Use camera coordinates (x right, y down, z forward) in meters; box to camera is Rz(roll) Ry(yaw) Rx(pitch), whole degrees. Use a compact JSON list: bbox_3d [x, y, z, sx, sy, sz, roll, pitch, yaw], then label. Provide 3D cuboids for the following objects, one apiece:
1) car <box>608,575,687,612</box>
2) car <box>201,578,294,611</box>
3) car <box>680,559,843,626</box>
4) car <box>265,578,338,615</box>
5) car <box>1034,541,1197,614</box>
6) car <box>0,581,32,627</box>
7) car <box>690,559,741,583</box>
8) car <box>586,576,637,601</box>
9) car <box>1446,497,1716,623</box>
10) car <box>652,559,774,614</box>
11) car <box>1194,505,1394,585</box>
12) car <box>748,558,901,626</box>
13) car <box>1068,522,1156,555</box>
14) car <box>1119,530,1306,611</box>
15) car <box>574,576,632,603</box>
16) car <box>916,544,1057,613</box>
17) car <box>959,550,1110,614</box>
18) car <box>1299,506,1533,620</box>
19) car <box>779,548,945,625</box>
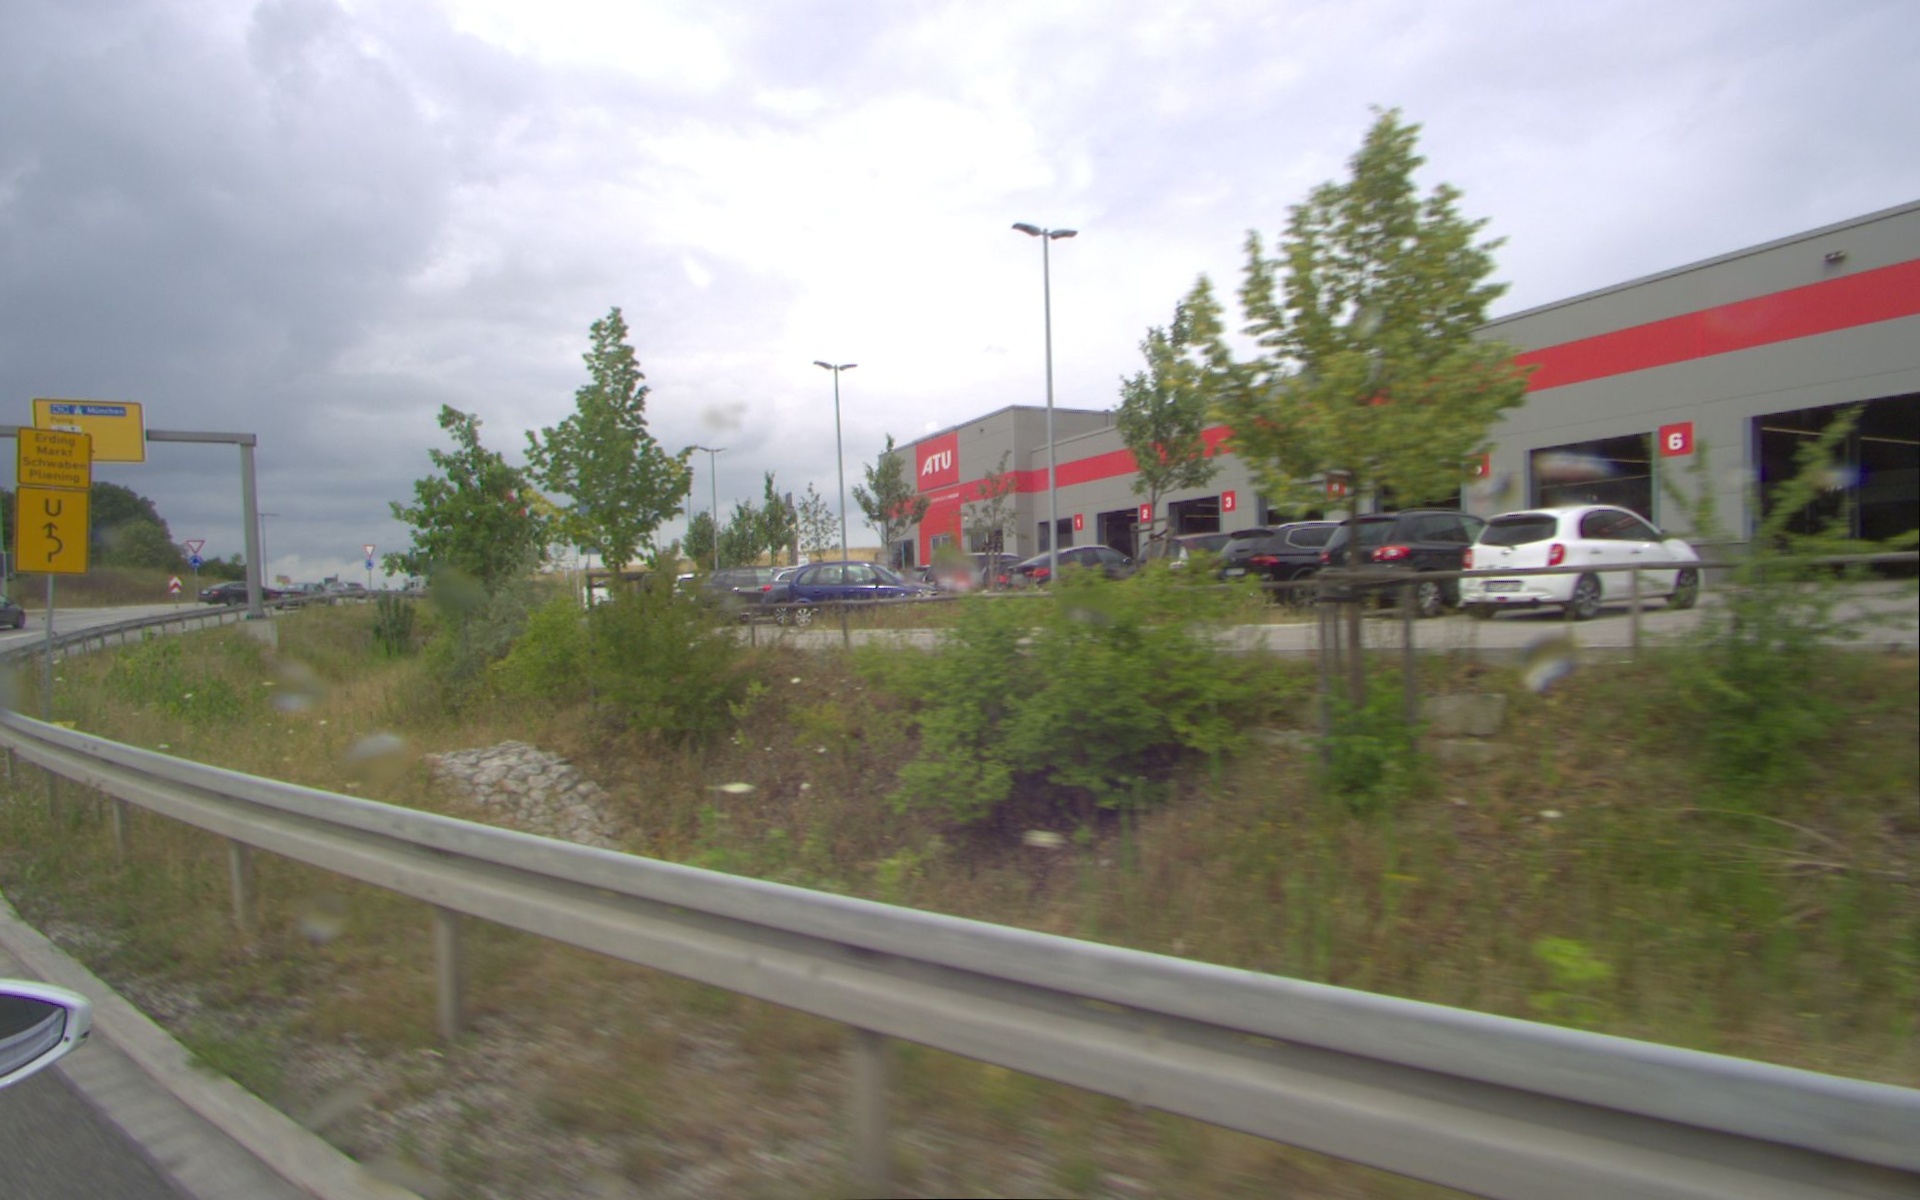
[{"bbox_3d":[-15.685,-0.323,50.331,3.398,1.646,1.548,-3,2,13],"label":"car"},{"bbox_3d":[-41.992,-0.341,59.167,1.868,1.807,4.148,-1,2,17],"label":"car"},{"bbox_3d":[-6.041,-0.249,30.748,4.465,1.758,1.830,-3,2,11],"label":"car"},{"bbox_3d":[-34.485,-0.229,52.557,1.627,1.863,3.952,-2,2,-9],"label":"car"},{"bbox_3d":[3.995,-0.577,25.678,3.837,1.651,1.713,-3,1,-29],"label":"car"},{"bbox_3d":[-34.677,0.106,35.242,1.846,1.626,3.720,2,-1,-25],"label":"car"},{"bbox_3d":[-17.233,-2.020,70.503,3.617,1.568,1.682,-1,1,42],"label":"car"},{"bbox_3d":[-29.899,-1.017,86.018,3.981,2.041,1.790,-2,2,-19],"label":"car"},{"bbox_3d":[8.863,-0.591,14.265,3.571,1.559,1.637,-4,2,-26],"label":"car"},{"bbox_3d":[-9.579,-0.543,39.013,4.114,1.867,1.830,-3,2,10],"label":"car"},{"bbox_3d":[6.265,-0.992,18.767,3.391,1.352,1.637,-1,1,-26],"label":"car"},{"bbox_3d":[-3.697,-0.244,27.601,3.738,1.629,1.756,-3,2,14],"label":"car"},{"bbox_3d":[7.302,-2.925,48.142,3.851,1.537,1.788,-1,4,-25],"label":"car"},{"bbox_3d":[5.352,-0.611,21.097,3.832,1.558,1.666,-2,1,-33],"label":"car"},{"bbox_3d":[-23.143,-0.658,64.842,3.529,1.648,1.637,0,2,31],"label":"car"},{"bbox_3d":[0.806,-0.642,29.875,3.803,1.844,1.713,-3,1,-29],"label":"car"},{"bbox_3d":[2.088,-0.509,27.877,3.837,1.555,1.713,-3,1,-29],"label":"car"},{"bbox_3d":[7.417,-0.619,16.268,3.393,1.657,1.724,-3,2,-27],"label":"car"},{"bbox_3d":[-2.401,-0.329,24.871,3.697,1.660,1.665,-3,1,15],"label":"car"}]
